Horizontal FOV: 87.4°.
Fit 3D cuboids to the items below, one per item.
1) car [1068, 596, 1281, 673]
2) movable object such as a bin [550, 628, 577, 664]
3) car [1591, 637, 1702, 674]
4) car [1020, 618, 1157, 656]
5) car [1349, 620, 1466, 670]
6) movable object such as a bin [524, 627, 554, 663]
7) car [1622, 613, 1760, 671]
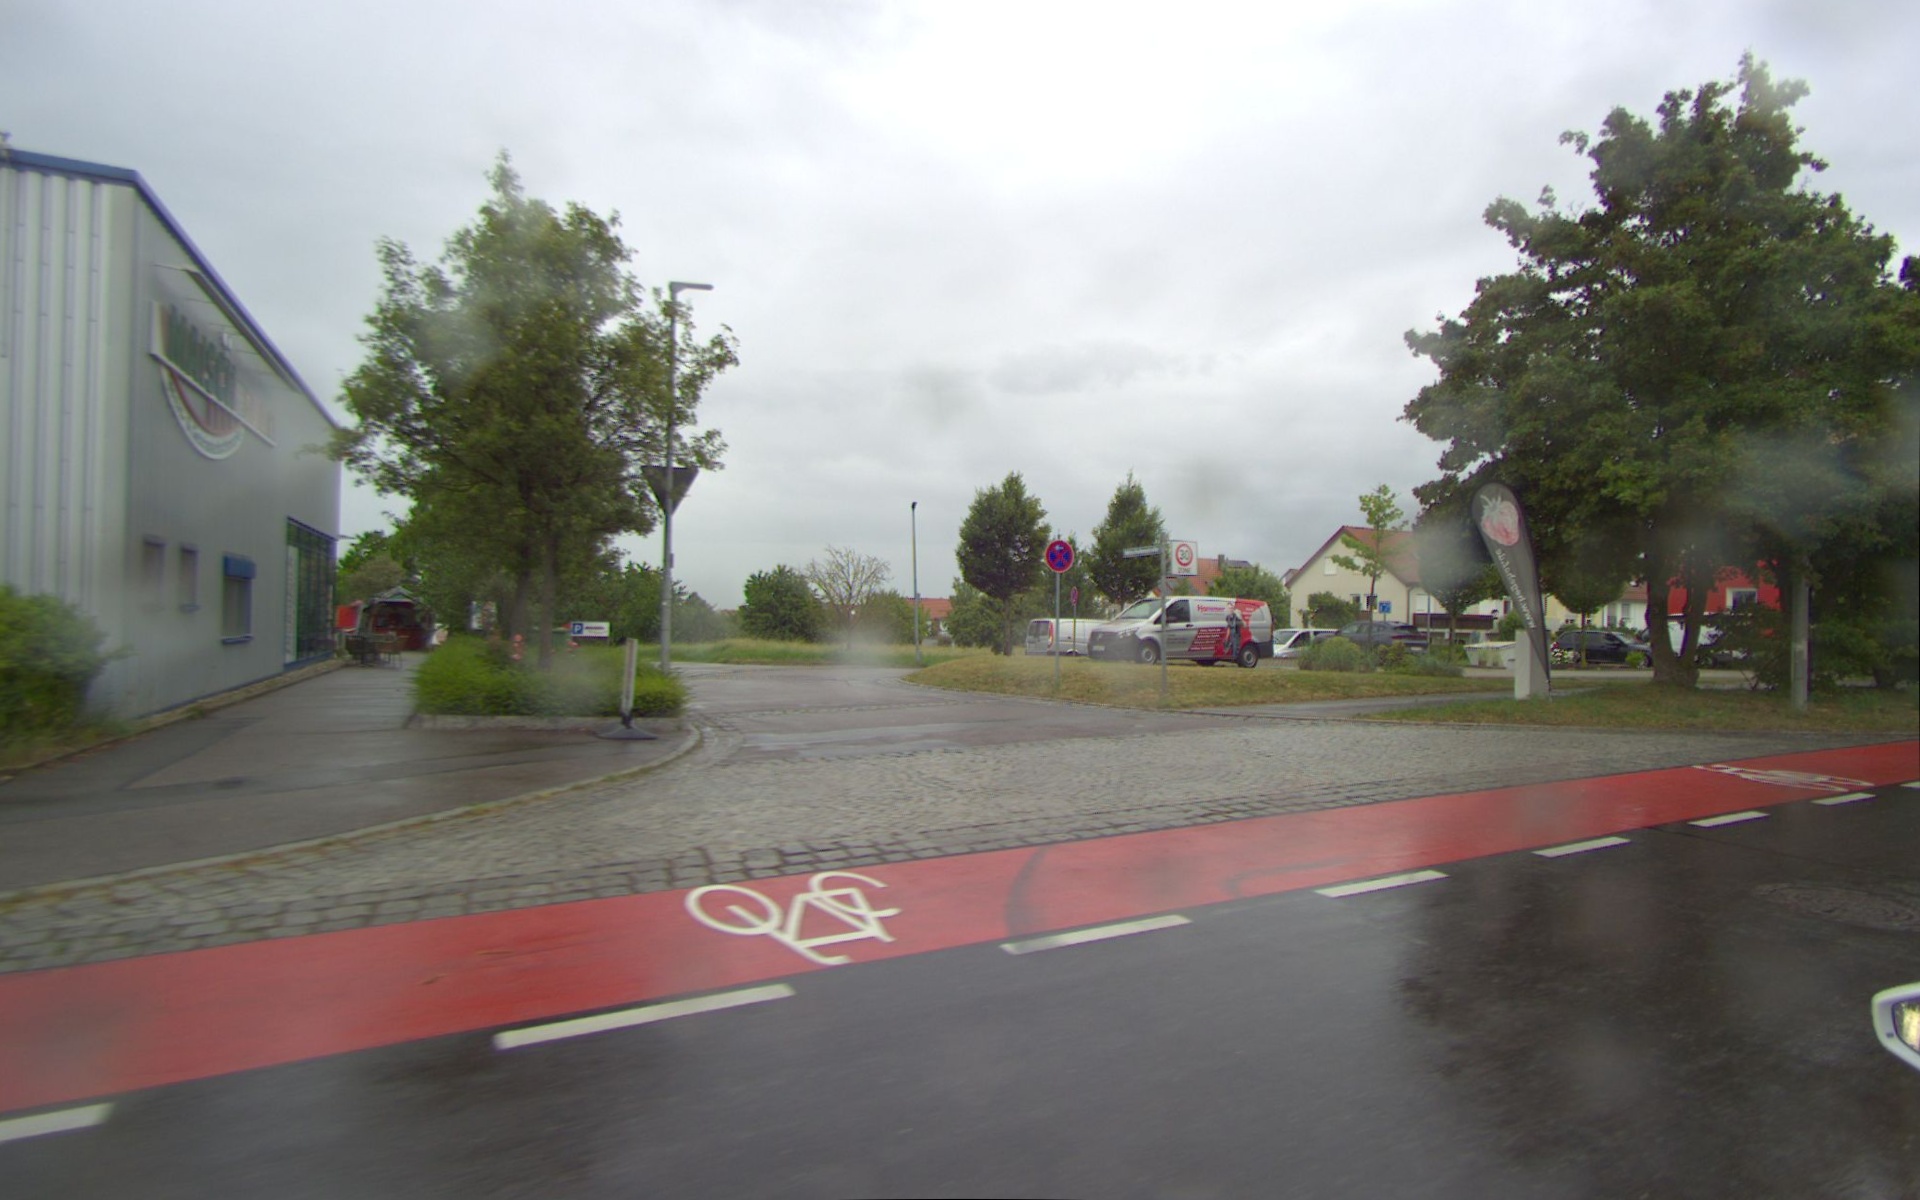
[{"bbox_3d":[5.740,0.863,26.650,5.538,1.847,2.025,1,0,-28],"label":"car"},{"bbox_3d":[-13.993,1.618,35.454,0.652,1.233,0.629,1,1,21],"label":"movable object such as a bin"},{"bbox_3d":[28.158,2.250,41.257,1.685,1.261,3.383,1,0,-31],"label":"car"},{"bbox_3d":[4.640,1.292,36.188,4.599,1.246,1.973,1,0,-28],"label":"car"},{"bbox_3d":[15.659,1.526,35.072,4.131,1.577,2.097,1,0,-39],"label":"car"},{"bbox_3d":[-15.066,1.592,35.952,0.749,1.233,0.629,1,1,21],"label":"movable object such as a bin"},{"bbox_3d":[32.324,1.807,44.549,2.154,2.341,4.465,1,0,-24],"label":"car"}]
